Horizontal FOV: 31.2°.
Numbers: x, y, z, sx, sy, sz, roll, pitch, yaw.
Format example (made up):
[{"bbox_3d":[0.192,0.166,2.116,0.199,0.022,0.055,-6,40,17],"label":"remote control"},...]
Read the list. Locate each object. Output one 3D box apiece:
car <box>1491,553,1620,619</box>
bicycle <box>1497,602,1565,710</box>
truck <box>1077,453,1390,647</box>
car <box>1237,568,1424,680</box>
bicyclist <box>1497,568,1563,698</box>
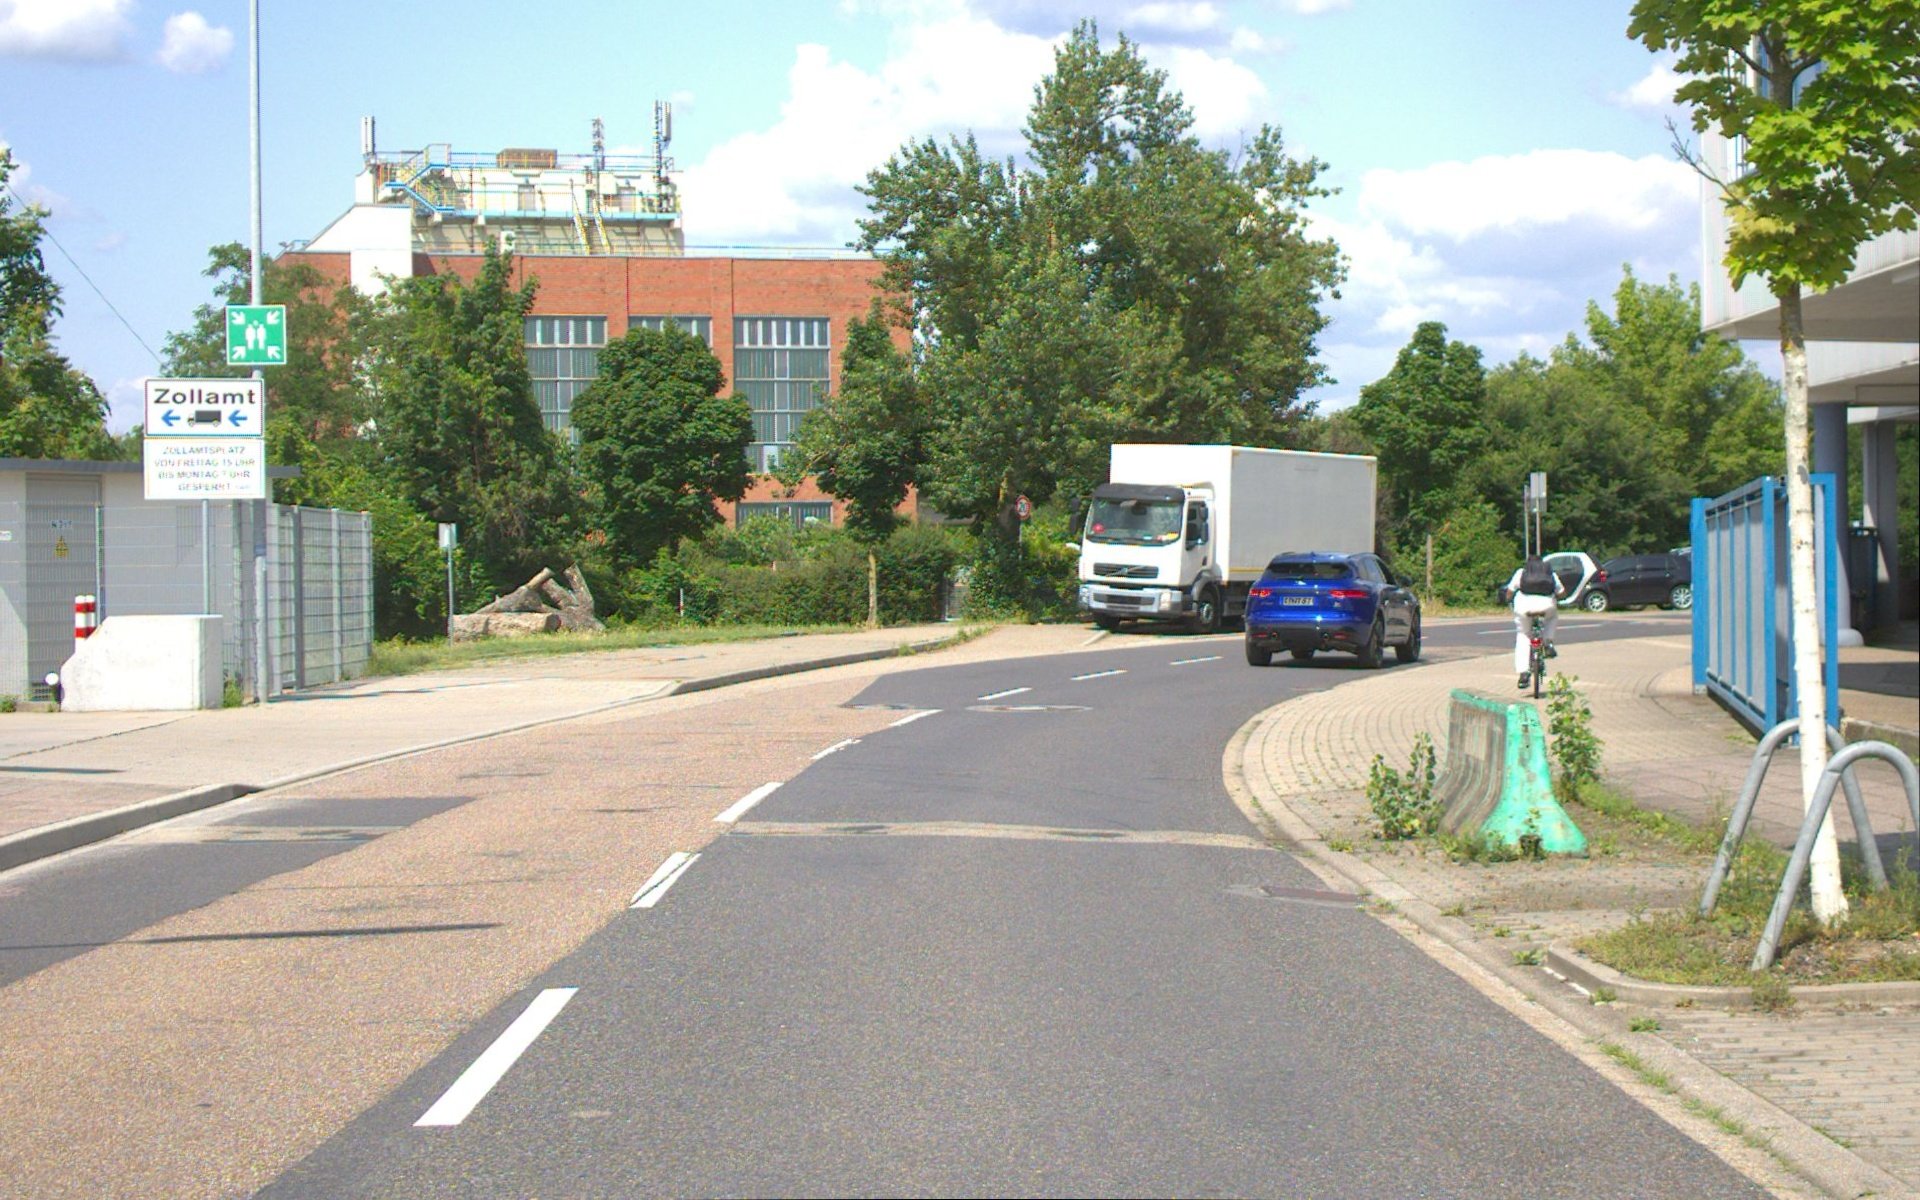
[{"bbox_3d":[14.558,-0.343,84.147,2.898,1.564,1.890,0,0,4],"label":"car"},{"bbox_3d":[6.231,0.596,37.453,0.667,1.105,2.167,-1,0,11],"label":"bicycle"},{"bbox_3d":[5.531,-1.048,67.651,2.325,3.555,9.352,1,2,30],"label":"truck"},{"bbox_3d":[5.569,0.337,51.158,1.911,1.588,4.697,0,0,17],"label":"car"},{"bbox_3d":[6.239,0.354,37.606,0.663,1.393,0.858,-1,0,11],"label":"bicyclist"}]
